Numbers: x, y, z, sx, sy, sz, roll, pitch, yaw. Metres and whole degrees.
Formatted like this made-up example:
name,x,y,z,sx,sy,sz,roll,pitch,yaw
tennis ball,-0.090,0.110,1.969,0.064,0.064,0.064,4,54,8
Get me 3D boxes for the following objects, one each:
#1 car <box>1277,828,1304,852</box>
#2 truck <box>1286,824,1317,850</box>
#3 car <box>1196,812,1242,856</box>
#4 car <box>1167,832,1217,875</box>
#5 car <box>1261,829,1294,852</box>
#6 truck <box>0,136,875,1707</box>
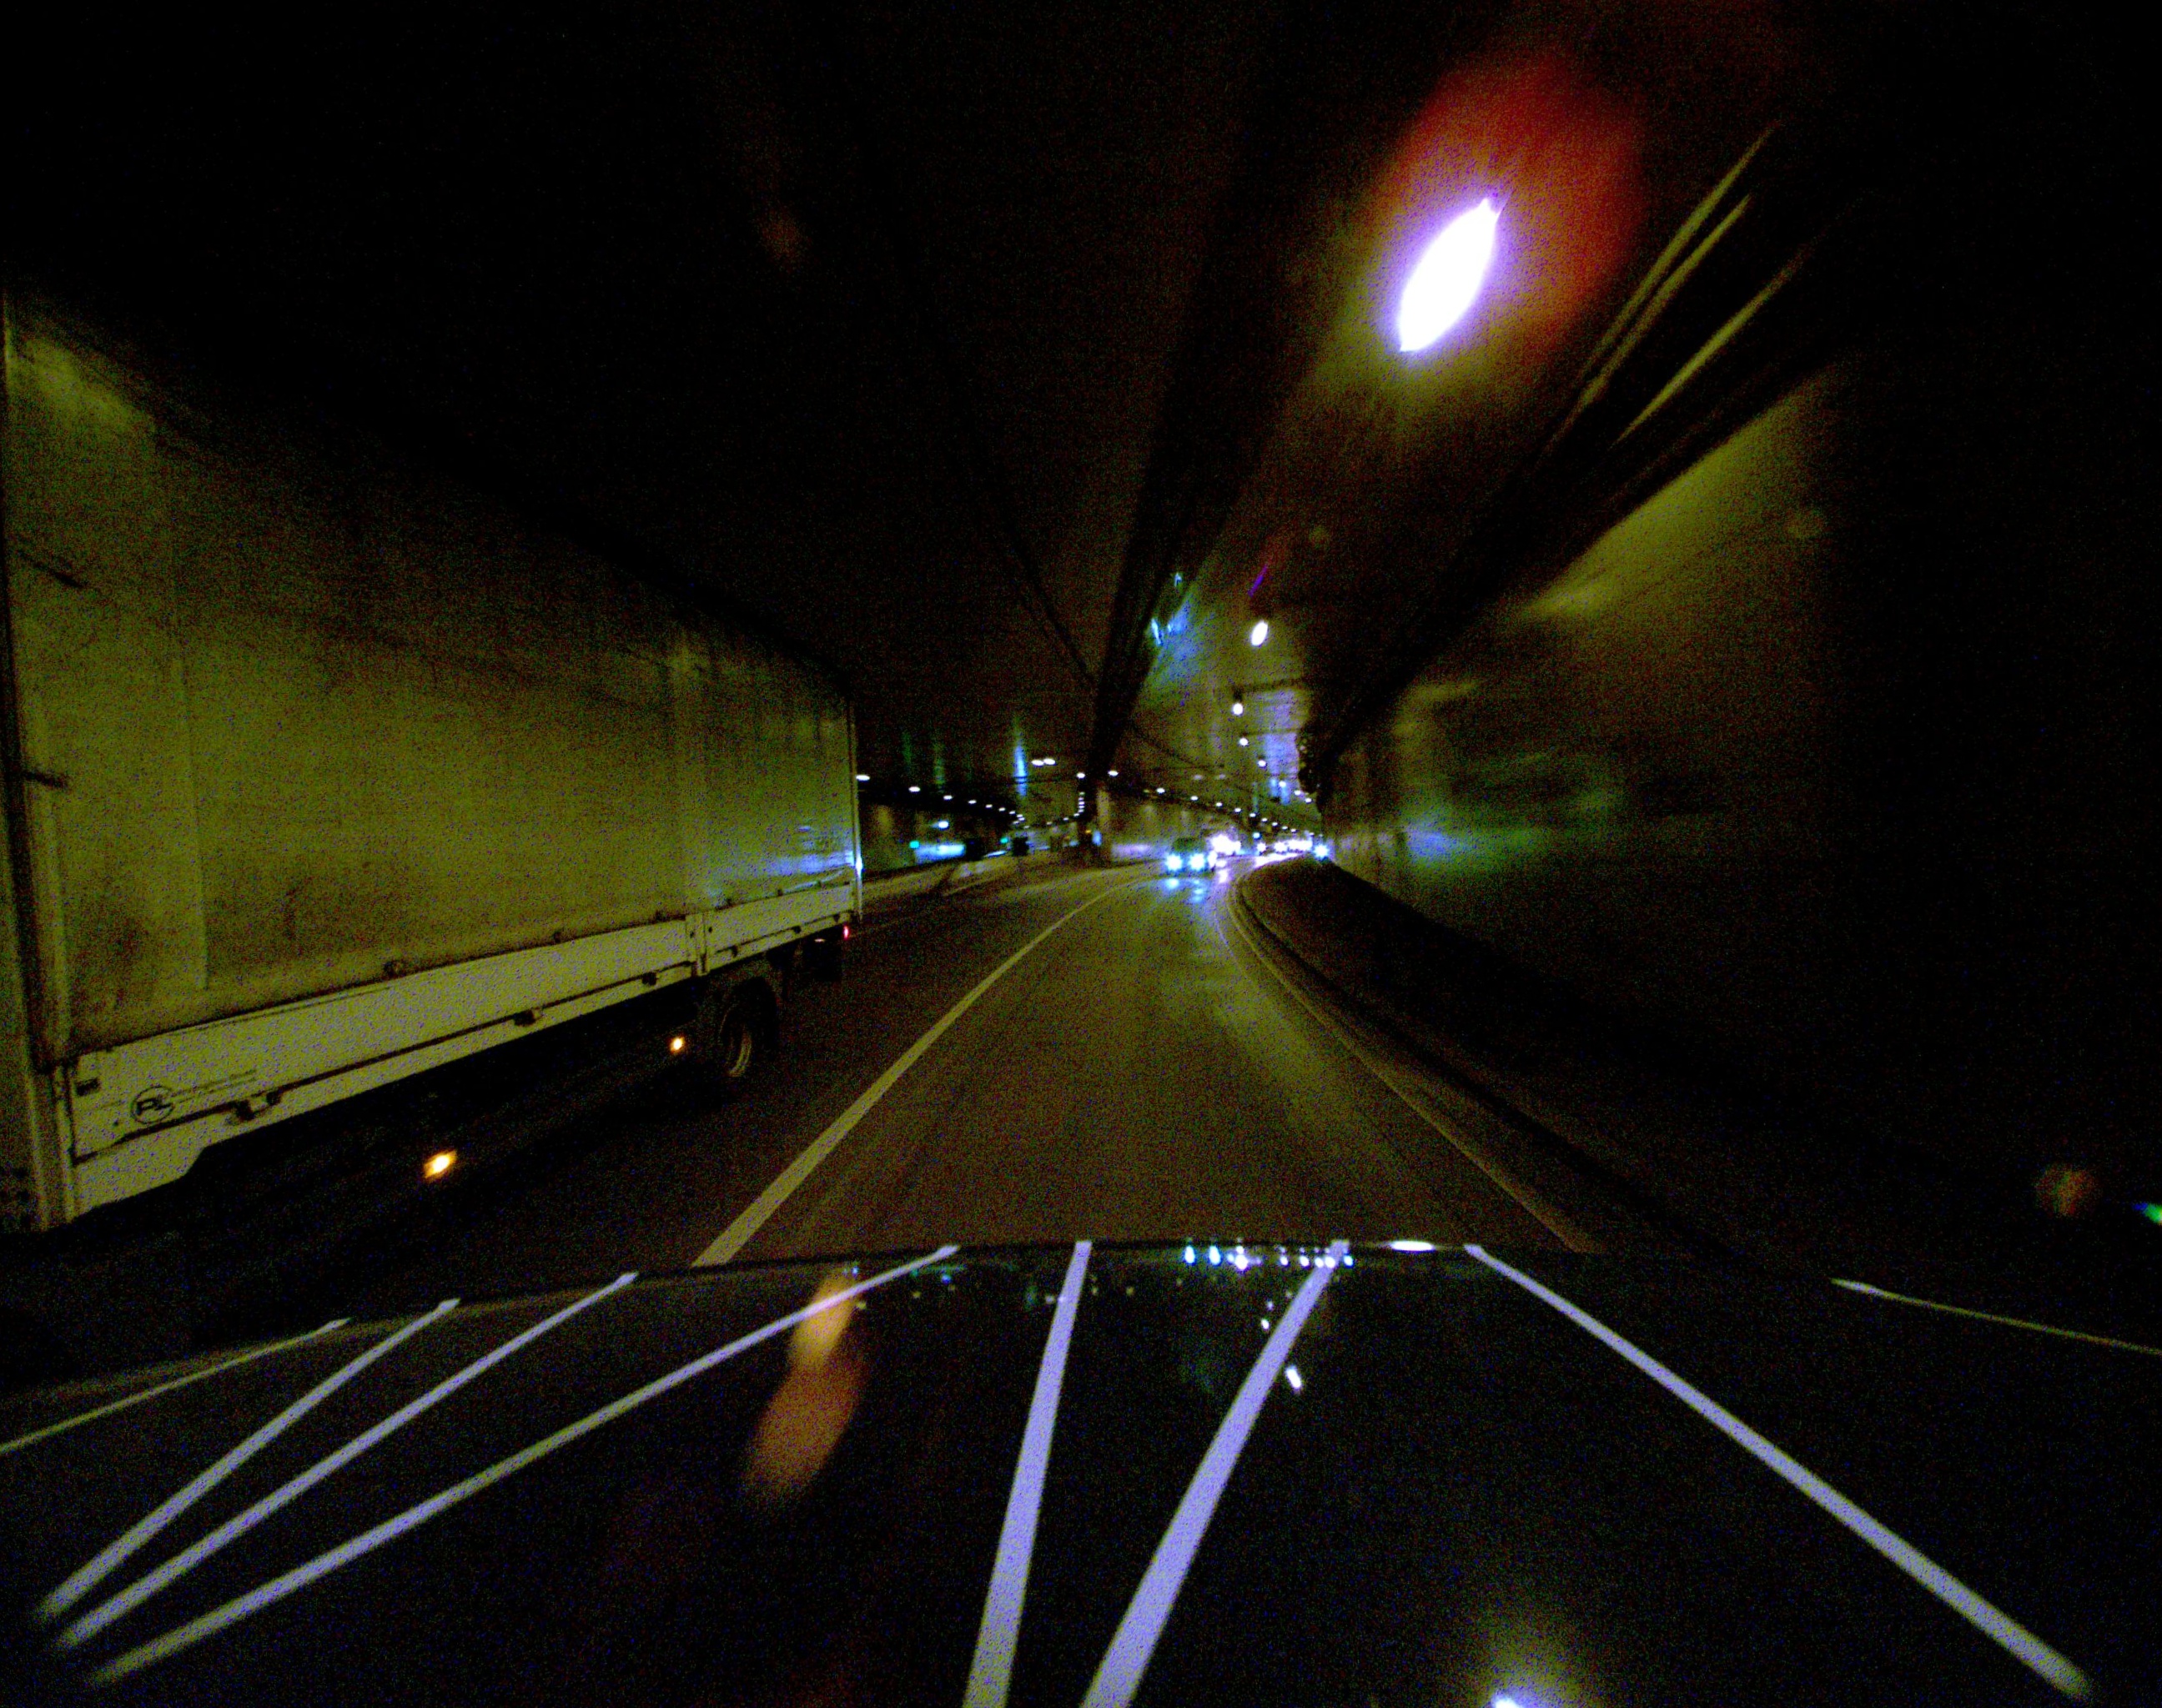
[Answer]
name,x,y,z,sx,sy,sz,roll,pitch,yaw
car,19.385,-1.254,70.096,1.933,1.917,4.204,-3,-3,21
truck,24.405,-1.946,83.827,2.071,2.525,6.032,-4,1,27
car,10.230,-1.393,55.855,2.103,2.829,6.873,-1,-2,21
car,4.500,-0.065,30.354,1.637,1.552,3.718,-1,2,13
car,14.996,-1.021,57.857,1.762,1.552,3.824,-4,0,22
truck,-3.350,0.137,3.330,2.559,3.163,7.245,-2,1,2
